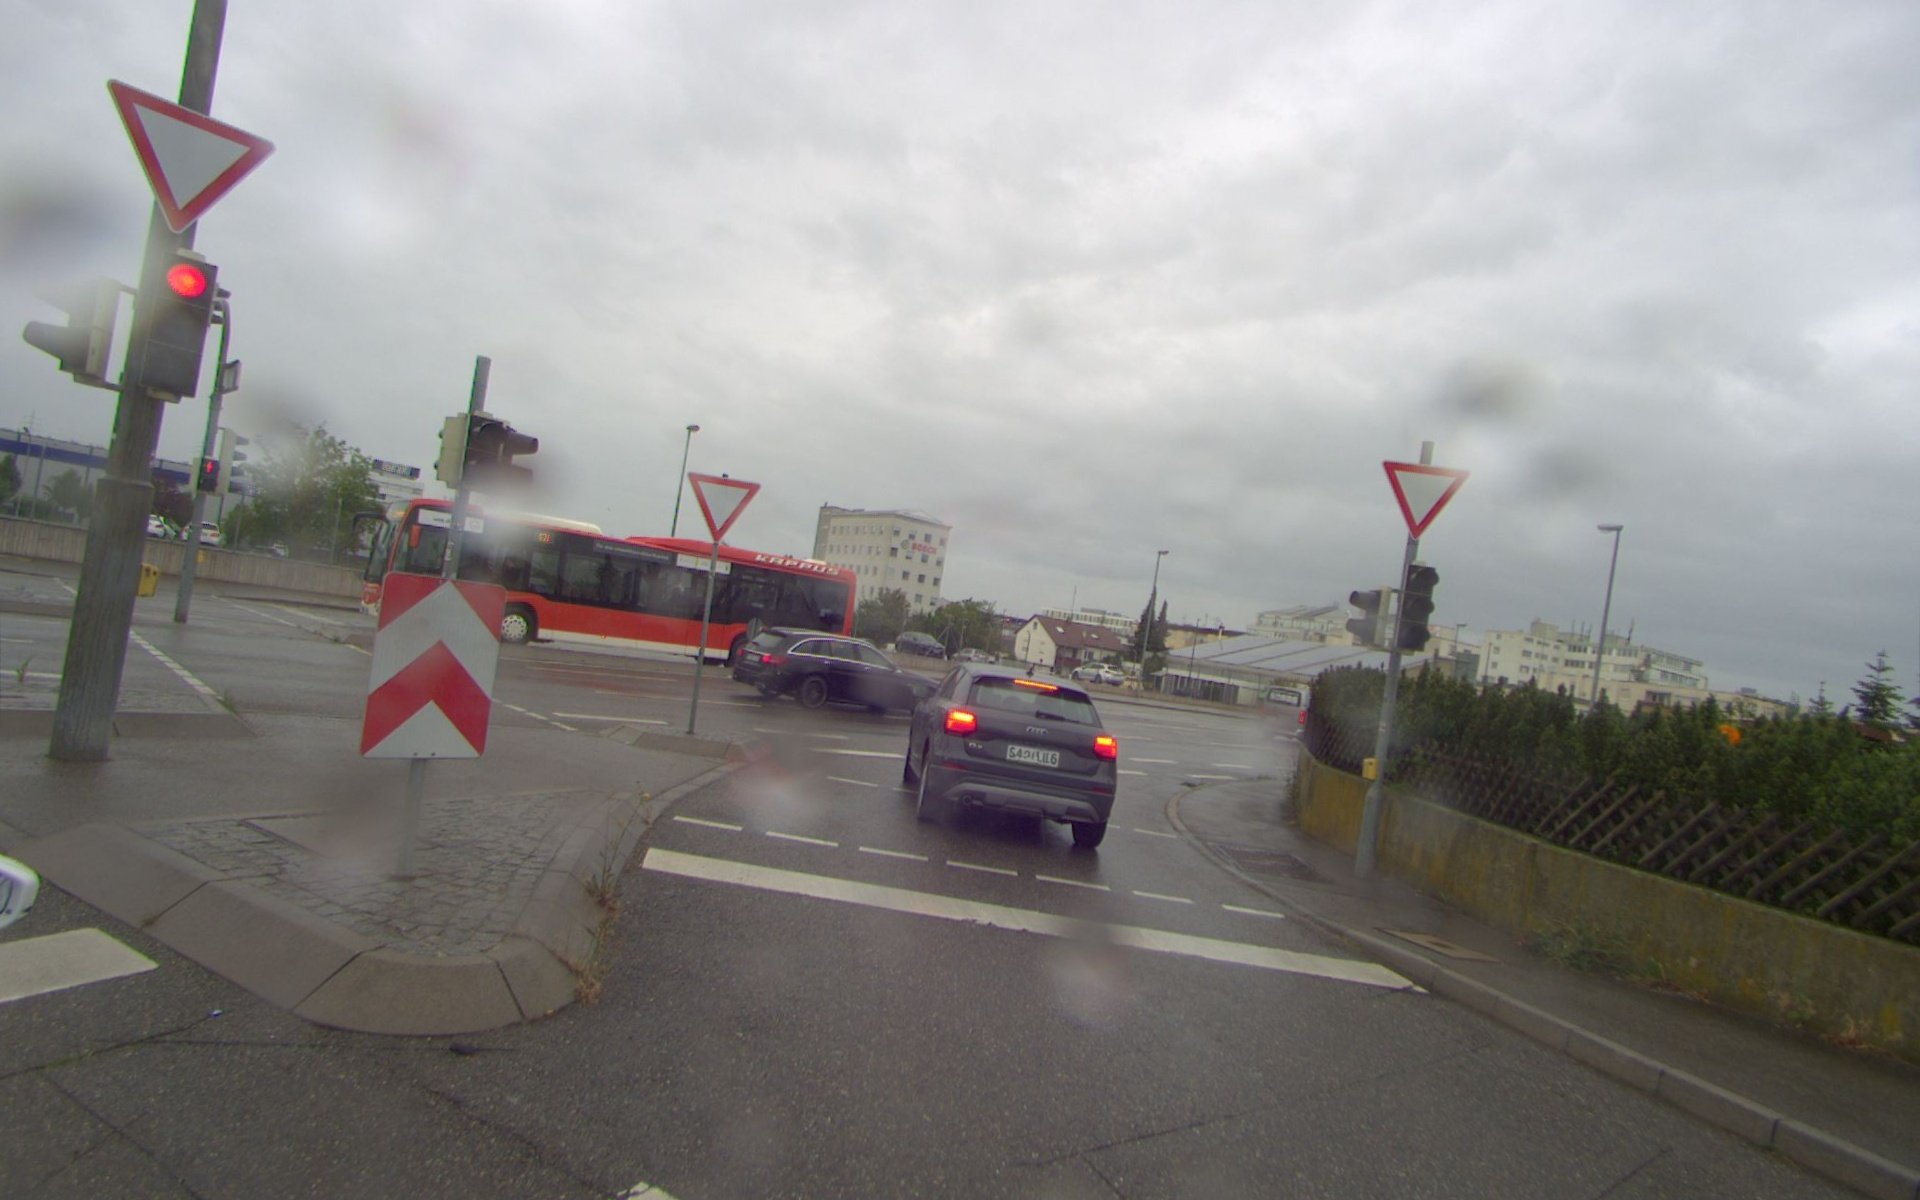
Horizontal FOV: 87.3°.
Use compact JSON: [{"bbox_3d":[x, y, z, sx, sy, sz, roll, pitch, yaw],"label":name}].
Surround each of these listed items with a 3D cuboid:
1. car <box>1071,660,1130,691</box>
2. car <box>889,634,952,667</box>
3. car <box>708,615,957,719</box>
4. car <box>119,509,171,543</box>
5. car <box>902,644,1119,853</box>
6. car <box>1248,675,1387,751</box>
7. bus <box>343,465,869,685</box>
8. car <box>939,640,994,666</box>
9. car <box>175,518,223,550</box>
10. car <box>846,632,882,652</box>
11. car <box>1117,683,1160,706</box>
[{"bbox_3d":[9.735,5.245,70.053,1.979,1.494,3.971,9,-2,-29],"label":"car"},{"bbox_3d":[-2.475,3.084,61.956,1.983,1.495,3.964,10,-2,-34],"label":"car"},{"bbox_3d":[-2.477,1.407,20.473,4.649,1.493,1.976,11,-3,-43],"label":"car"},{"bbox_3d":[-45.619,-4.134,56.361,1.985,1.495,3.959,10,-2,-38],"label":"car"},{"bbox_3d":[0.330,1.348,10.498,1.659,1.512,3.940,8,-2,-3],"label":"car"},{"bbox_3d":[12.374,3.914,34.710,4.745,2.037,1.982,9,-2,-35],"label":"car"},{"bbox_3d":[-8.327,-0.274,25.849,12.247,3.357,3.039,12,-3,-41],"label":"bus"},{"bbox_3d":[0.543,4.365,82.225,3.951,1.494,1.989,9,-2,-24],"label":"car"},{"bbox_3d":[-43.899,-3.808,58.029,1.986,1.495,3.958,10,-2,-38],"label":"car"},{"bbox_3d":[-9.628,4.166,100.406,1.979,1.494,3.971,9,-2,-29],"label":"car"},{"bbox_3d":[17.741,9.409,100.016,3.760,1.771,1.887,9,-2,-29],"label":"car"}]
